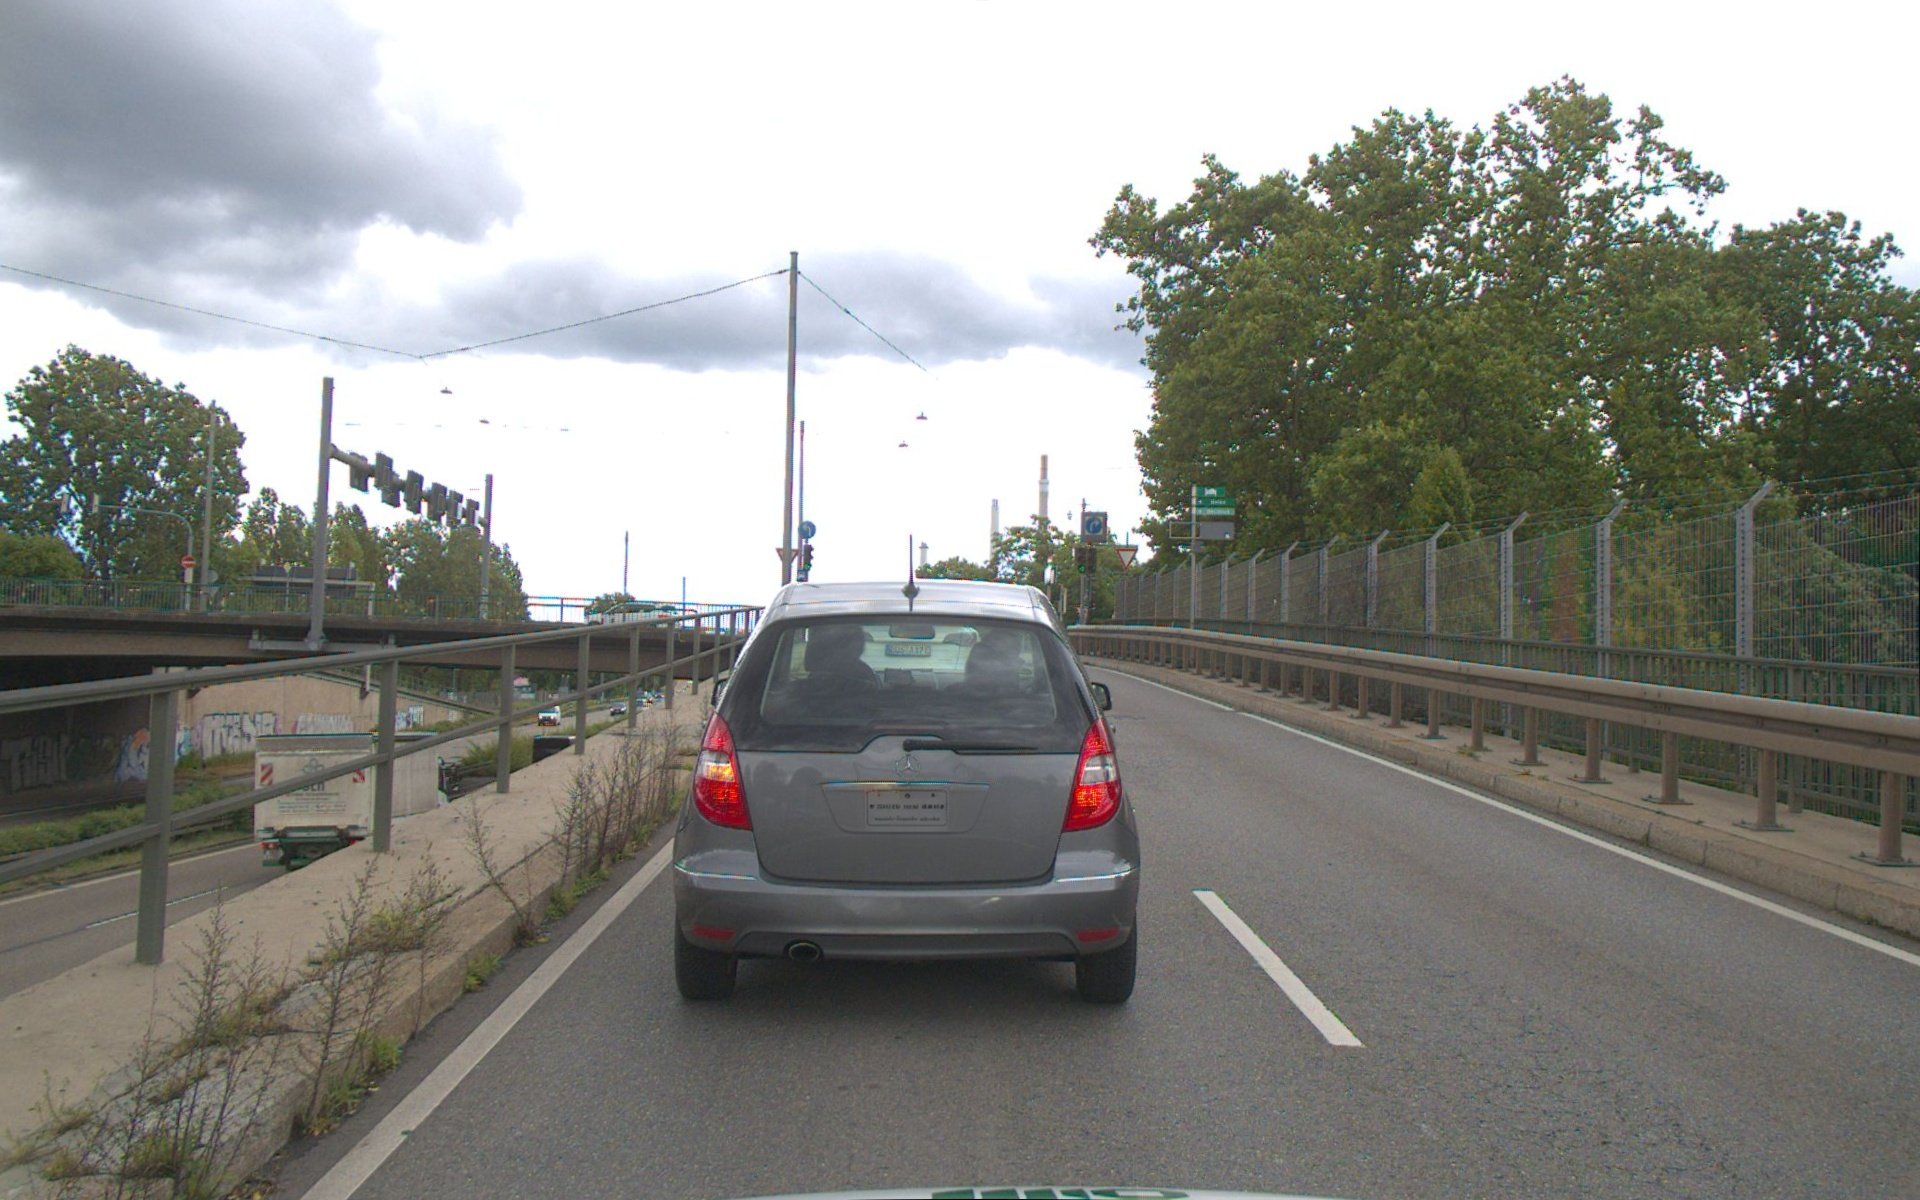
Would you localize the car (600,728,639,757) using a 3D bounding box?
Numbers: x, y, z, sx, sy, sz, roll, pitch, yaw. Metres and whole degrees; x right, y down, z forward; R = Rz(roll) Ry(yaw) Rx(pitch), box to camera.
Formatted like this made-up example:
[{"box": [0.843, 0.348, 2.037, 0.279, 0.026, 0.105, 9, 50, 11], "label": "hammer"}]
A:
[{"box": [-21.369, 8.943, 103.897, 1.861, 1.650, 4.174, 1, -3, -4], "label": "car"}]

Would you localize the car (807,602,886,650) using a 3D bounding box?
[{"box": [-4.308, 0.961, 62.408, 1.903, 1.747, 3.976, 1, 0, -21], "label": "car"}]

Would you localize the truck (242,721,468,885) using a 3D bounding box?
[{"box": [-14.105, 4.637, 39.286, 2.690, 3.351, 7.438, 0, -3, -1], "label": "truck"}]

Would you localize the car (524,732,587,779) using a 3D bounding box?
[{"box": [-19.724, 7.571, 80.822, 1.860, 2.038, 4.956, 1, -3, -1], "label": "car"}]

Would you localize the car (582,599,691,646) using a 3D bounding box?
[{"box": [-13.724, 0.941, 70.224, 4.112, 1.903, 2.000, 1, 0, 19], "label": "car"}]

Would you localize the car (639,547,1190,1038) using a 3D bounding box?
[{"box": [-0.178, 0.646, 7.541, 1.820, 1.616, 3.999, 1, 0, -1], "label": "car"}]

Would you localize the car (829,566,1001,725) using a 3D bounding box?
[{"box": [-0.564, 0.516, 20.664, 1.892, 1.747, 4.404, 1, 0, -2], "label": "car"}]

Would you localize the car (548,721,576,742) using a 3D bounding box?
[{"box": [-41.335, 13.647, 171.974, 1.954, 2.103, 5.171, 1, -3, -5], "label": "car"}]

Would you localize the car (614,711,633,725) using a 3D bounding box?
[{"box": [-44.619, 15.623, 219.144, 1.877, 1.769, 4.548, 0, -3, -4], "label": "car"}]
